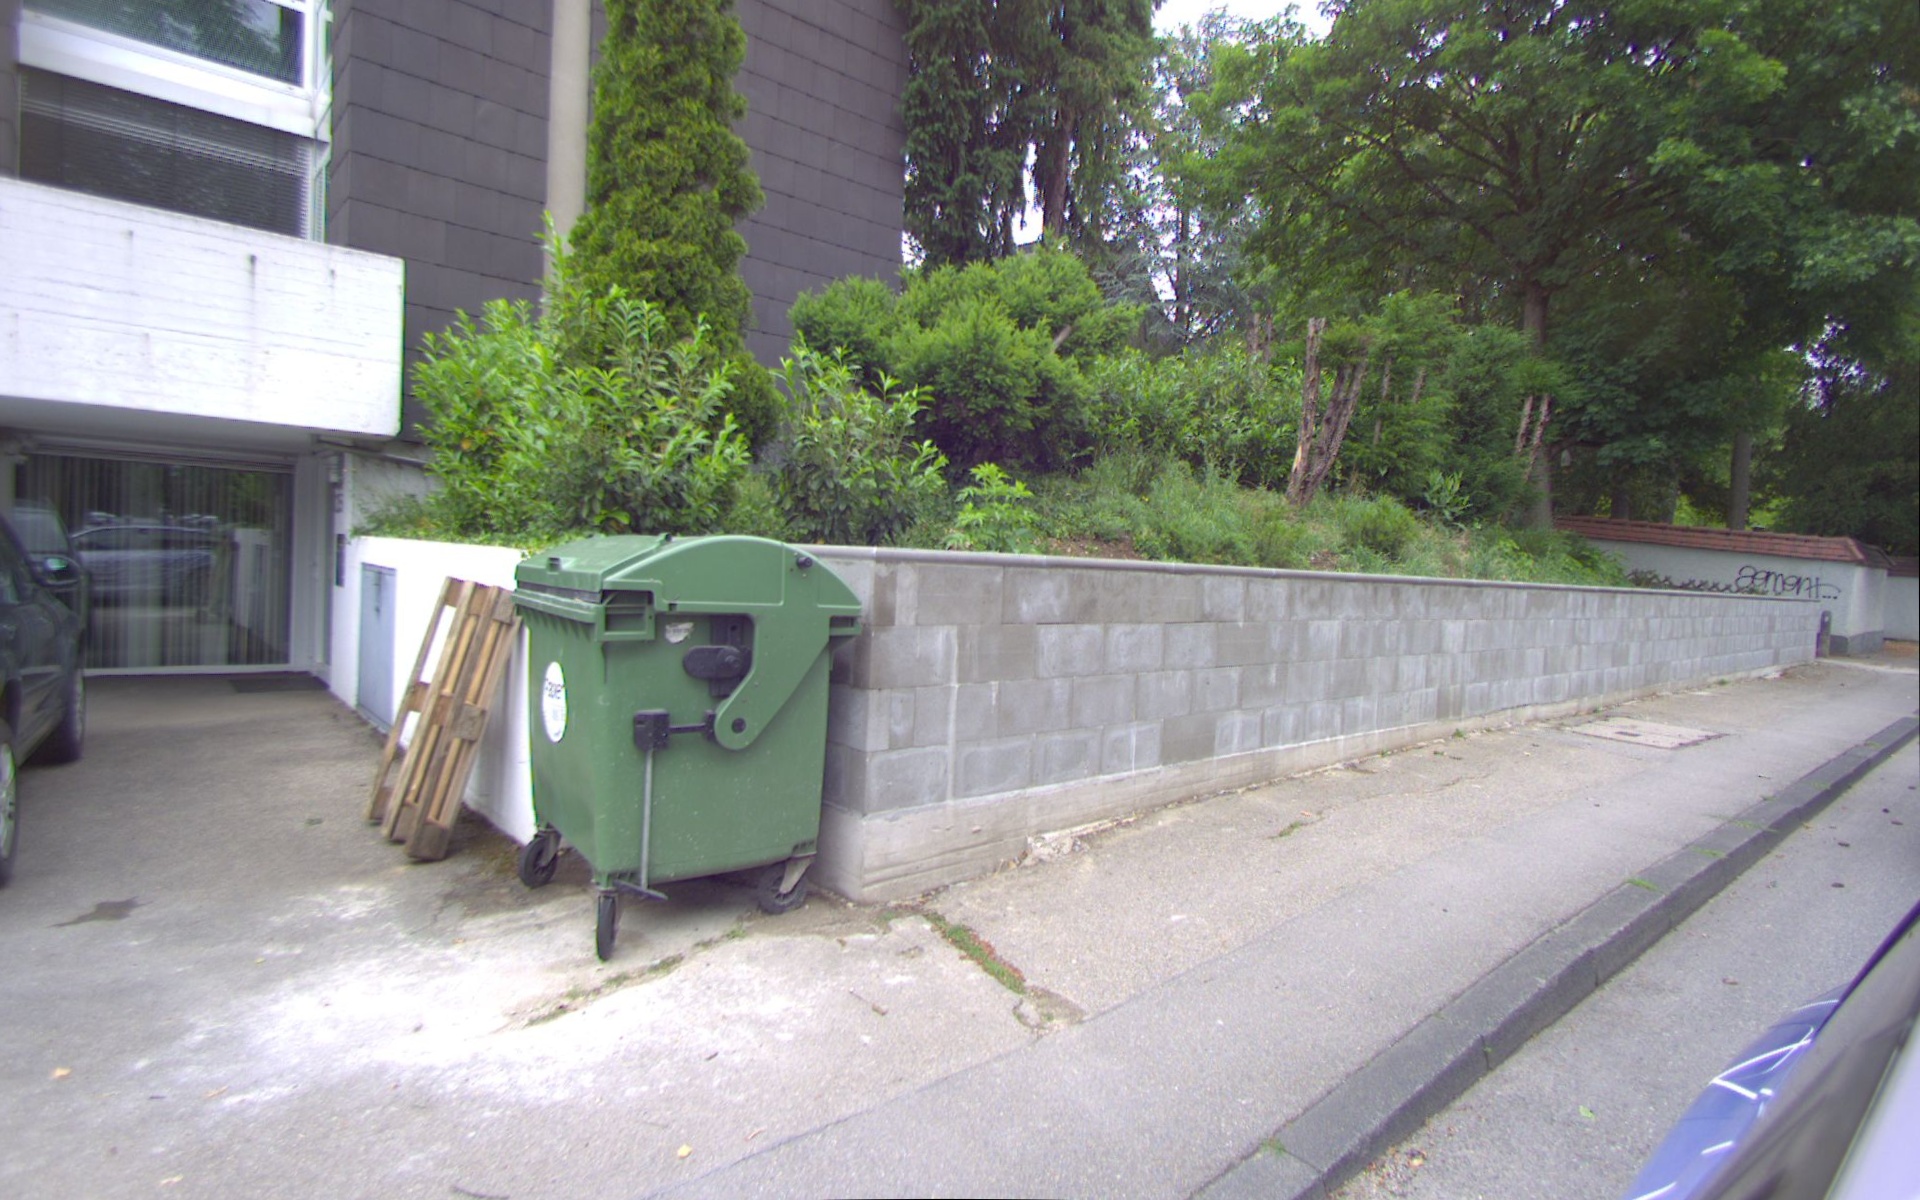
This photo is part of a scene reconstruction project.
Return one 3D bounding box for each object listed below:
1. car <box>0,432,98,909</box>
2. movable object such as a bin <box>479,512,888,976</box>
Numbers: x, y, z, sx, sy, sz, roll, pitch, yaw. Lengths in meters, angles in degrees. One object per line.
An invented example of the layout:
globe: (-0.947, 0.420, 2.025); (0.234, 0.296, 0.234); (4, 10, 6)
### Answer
car: (-5.021, 0.147, 4.356); (1.712, 1.671, 3.914); (0, 4, -36)
movable object such as a bin: (-1.157, 0.415, 4.082); (1.096, 1.469, 1.407); (0, 3, -40)
